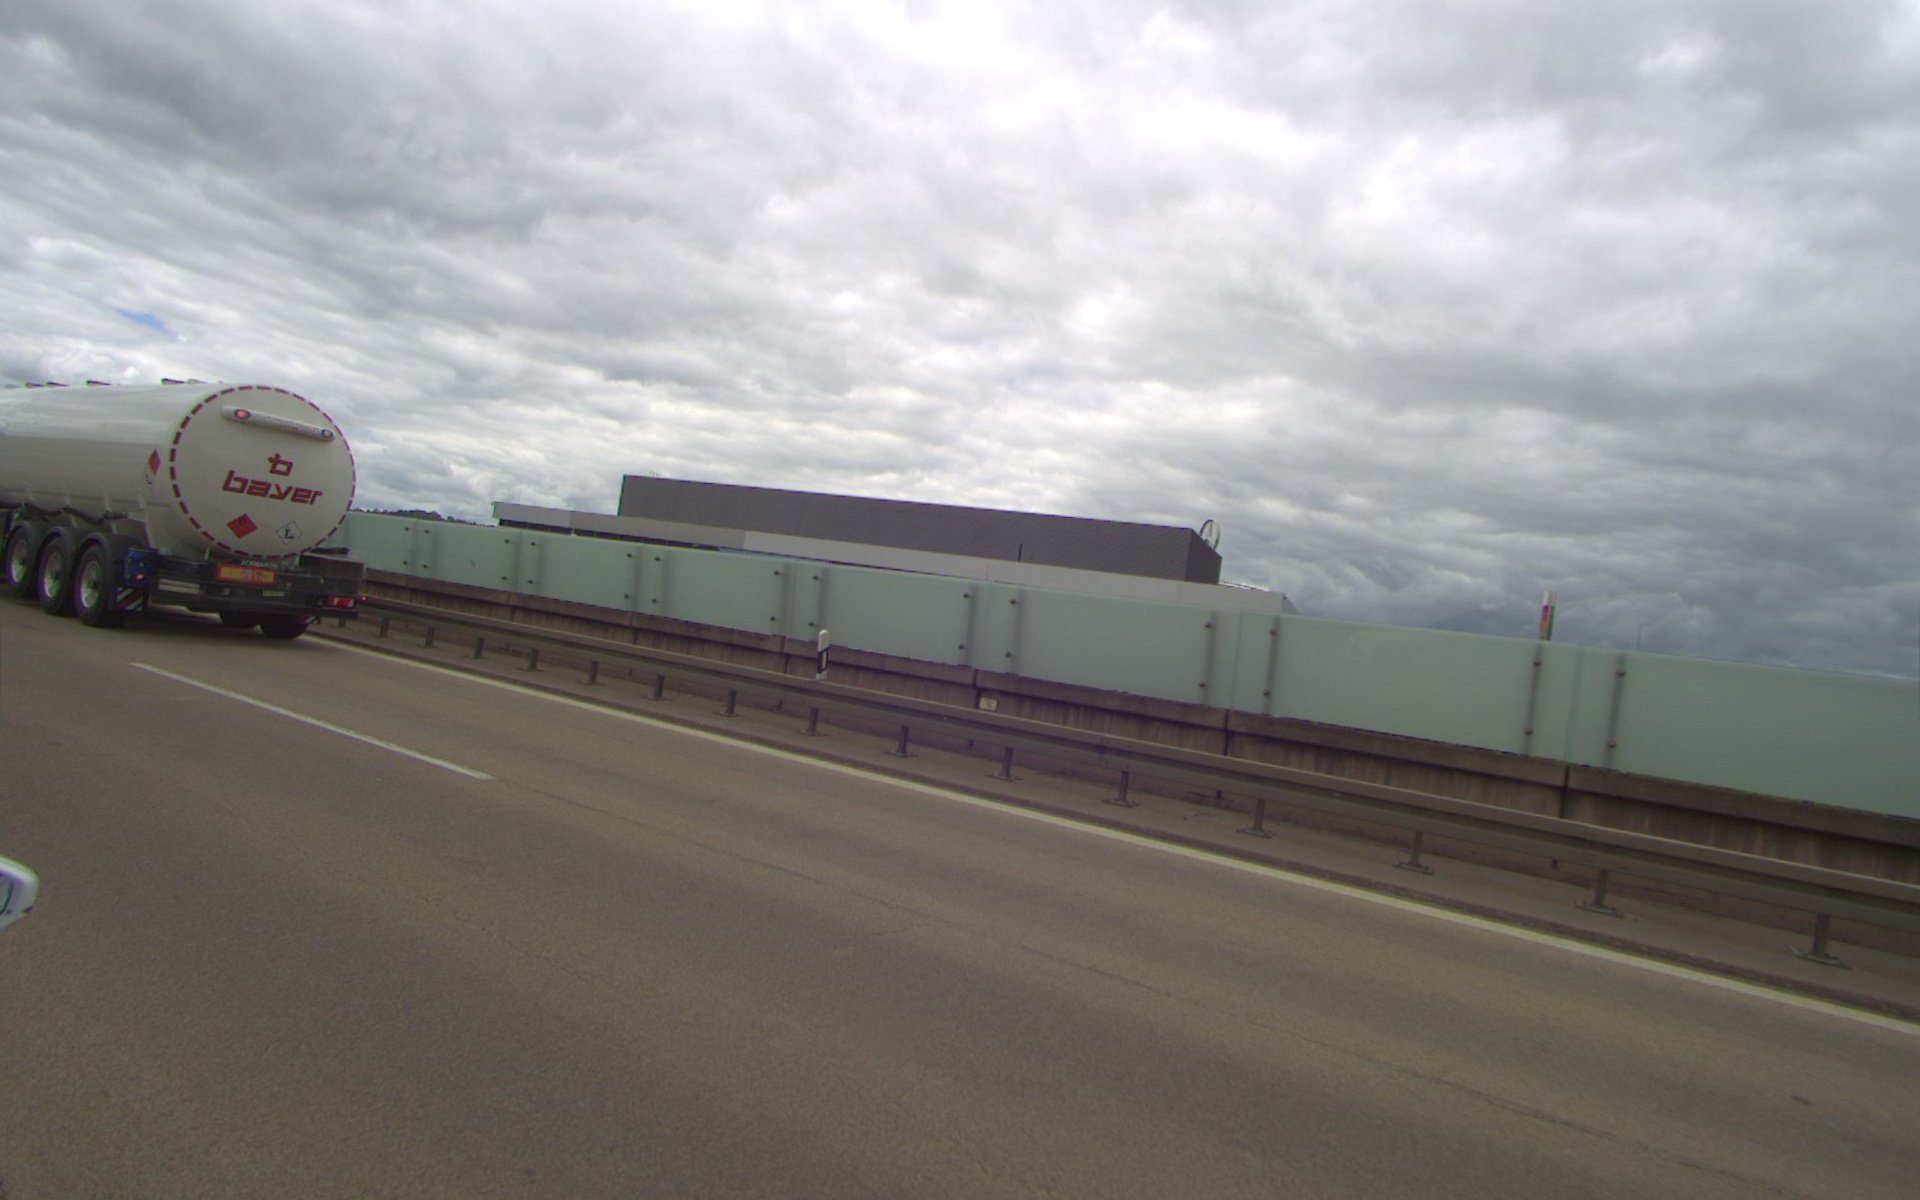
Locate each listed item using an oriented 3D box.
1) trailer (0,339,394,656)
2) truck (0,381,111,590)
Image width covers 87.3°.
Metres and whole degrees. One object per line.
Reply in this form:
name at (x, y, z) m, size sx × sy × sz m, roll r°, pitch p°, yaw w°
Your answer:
trailer at (-13.469, -1.679, 15.792) m, size 11.034 × 3.584 × 2.655 m, roll 7°, pitch -2°, yaw 32°
truck at (-19.131, -2.333, 19.320) m, size 4.822 × 3.554 × 2.636 m, roll 7°, pitch -1°, yaw 32°
